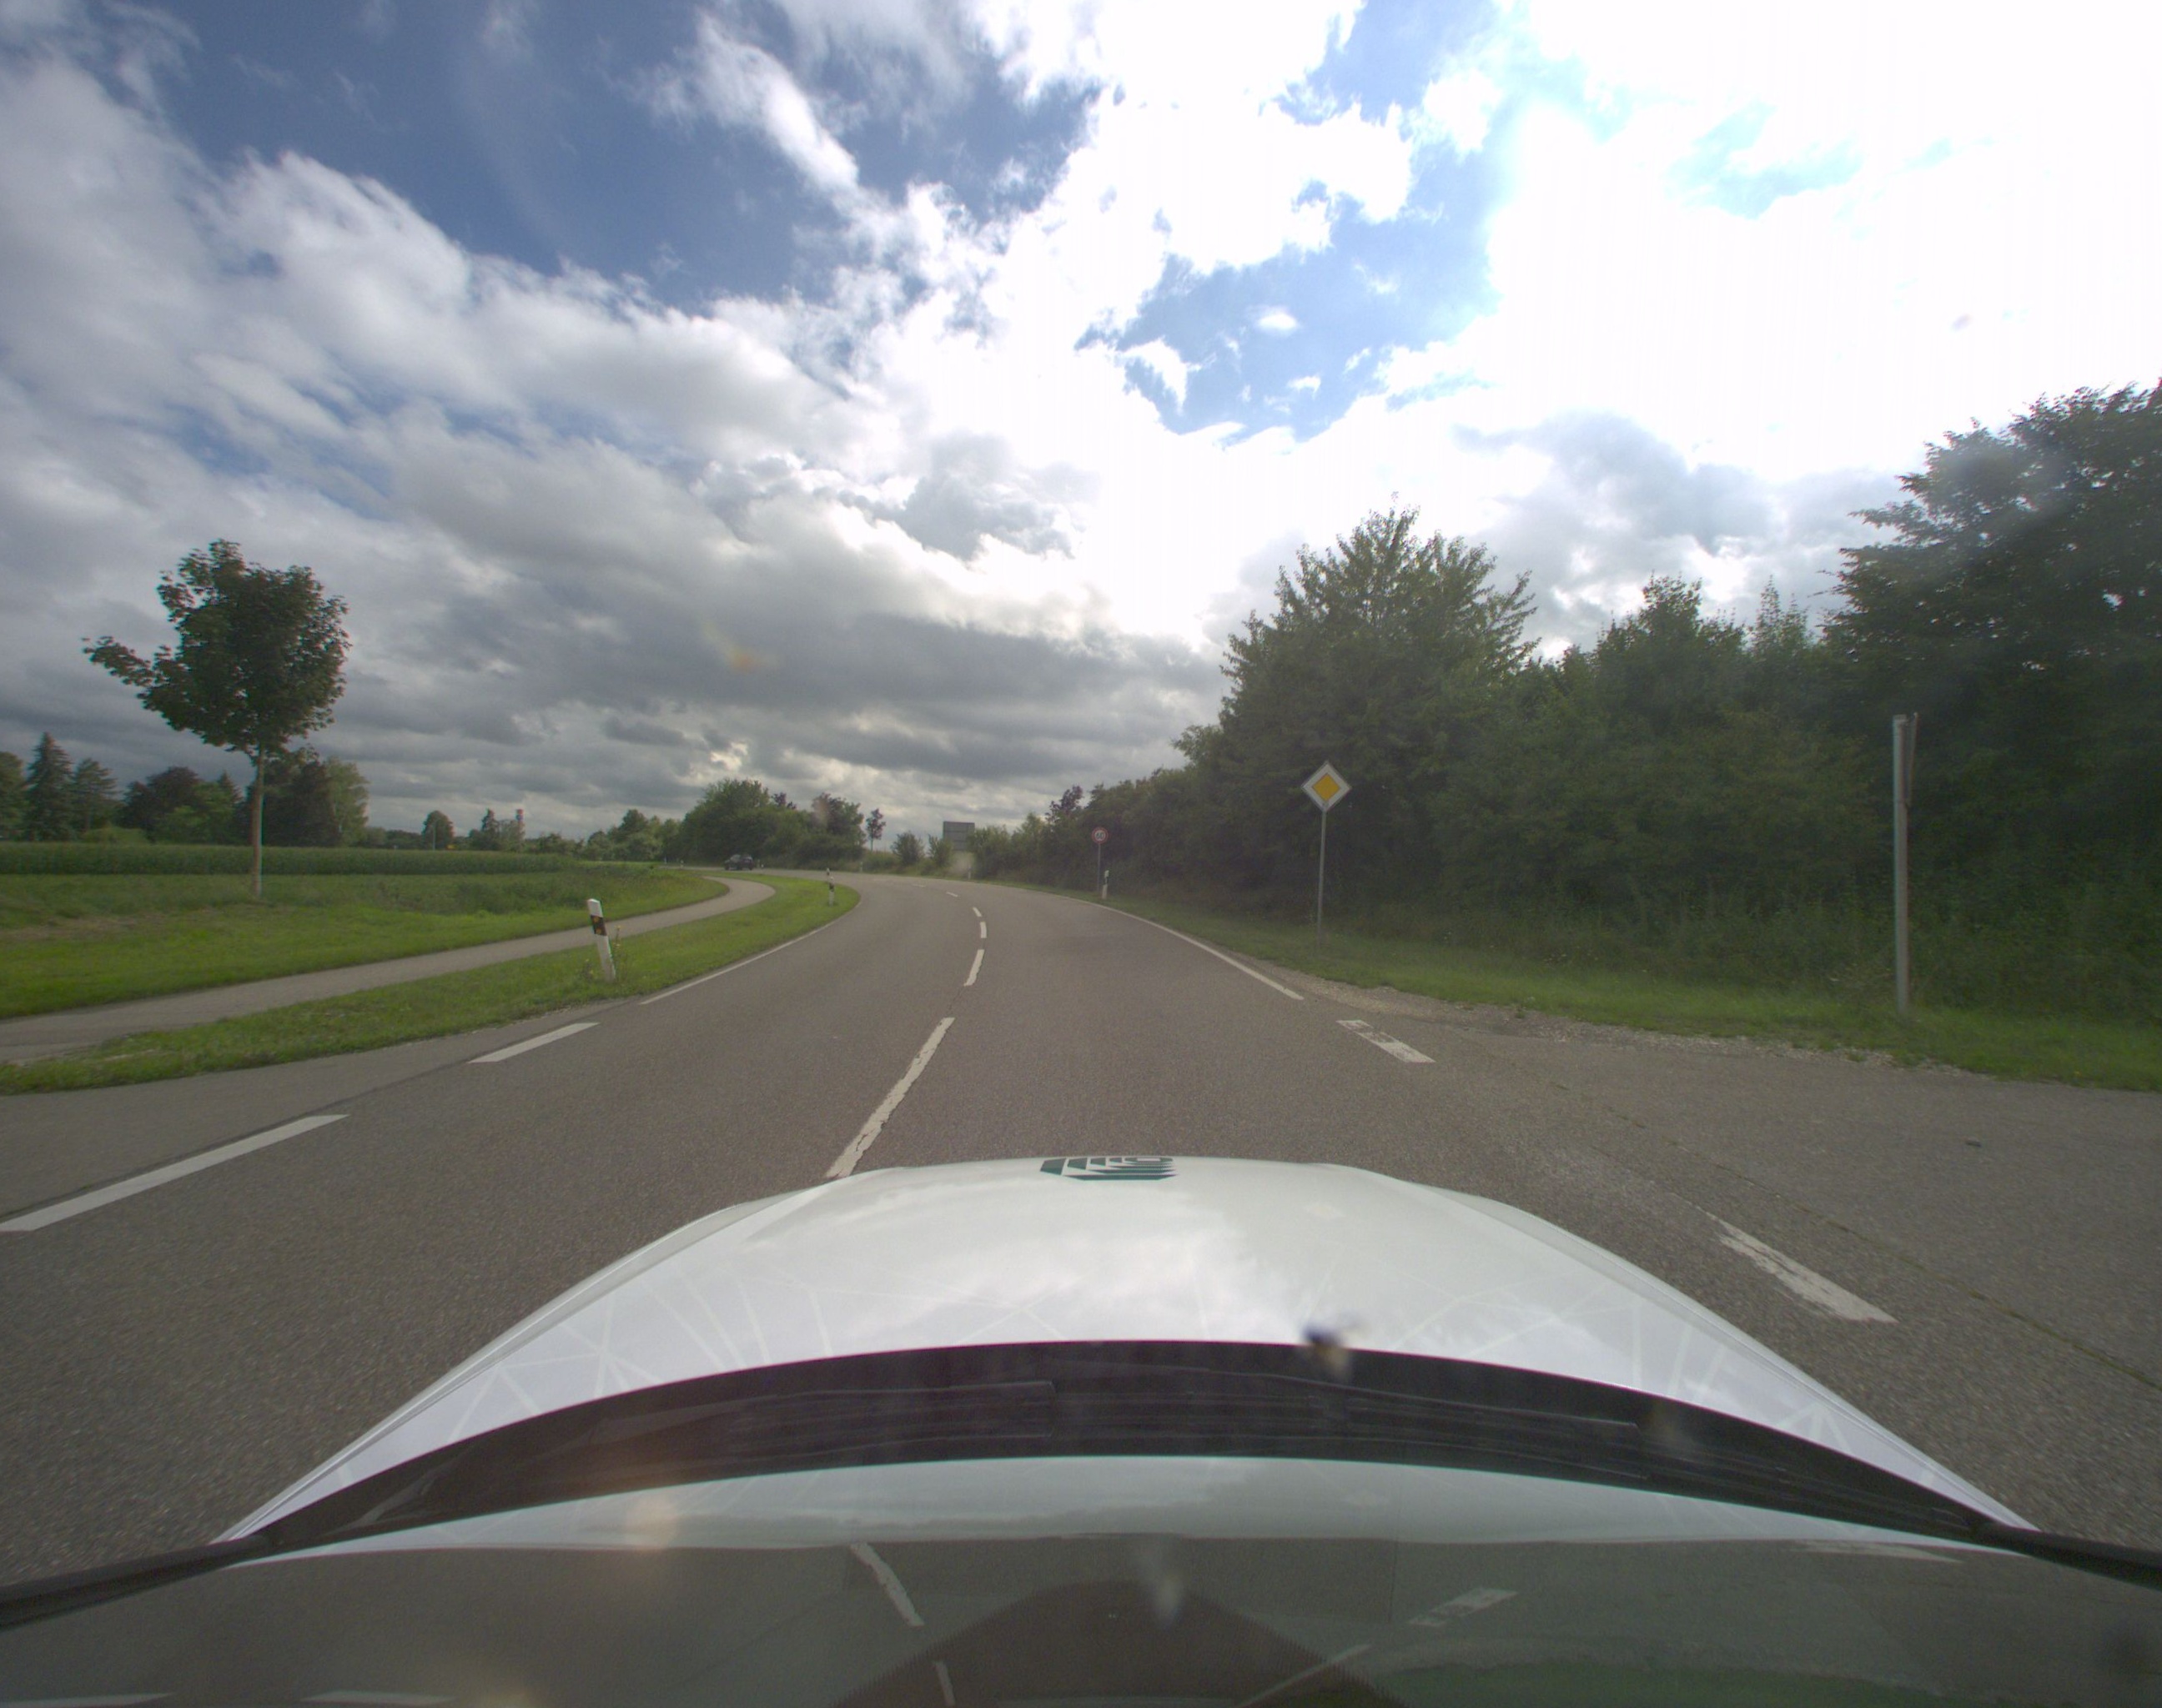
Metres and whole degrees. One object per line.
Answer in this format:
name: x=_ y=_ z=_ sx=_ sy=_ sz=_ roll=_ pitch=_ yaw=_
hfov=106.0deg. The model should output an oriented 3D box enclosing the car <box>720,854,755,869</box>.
car: x=-37.755 y=0.804 z=89.466 sx=3.949 sy=1.666 sz=1.924 roll=0 pitch=0 yaw=41
